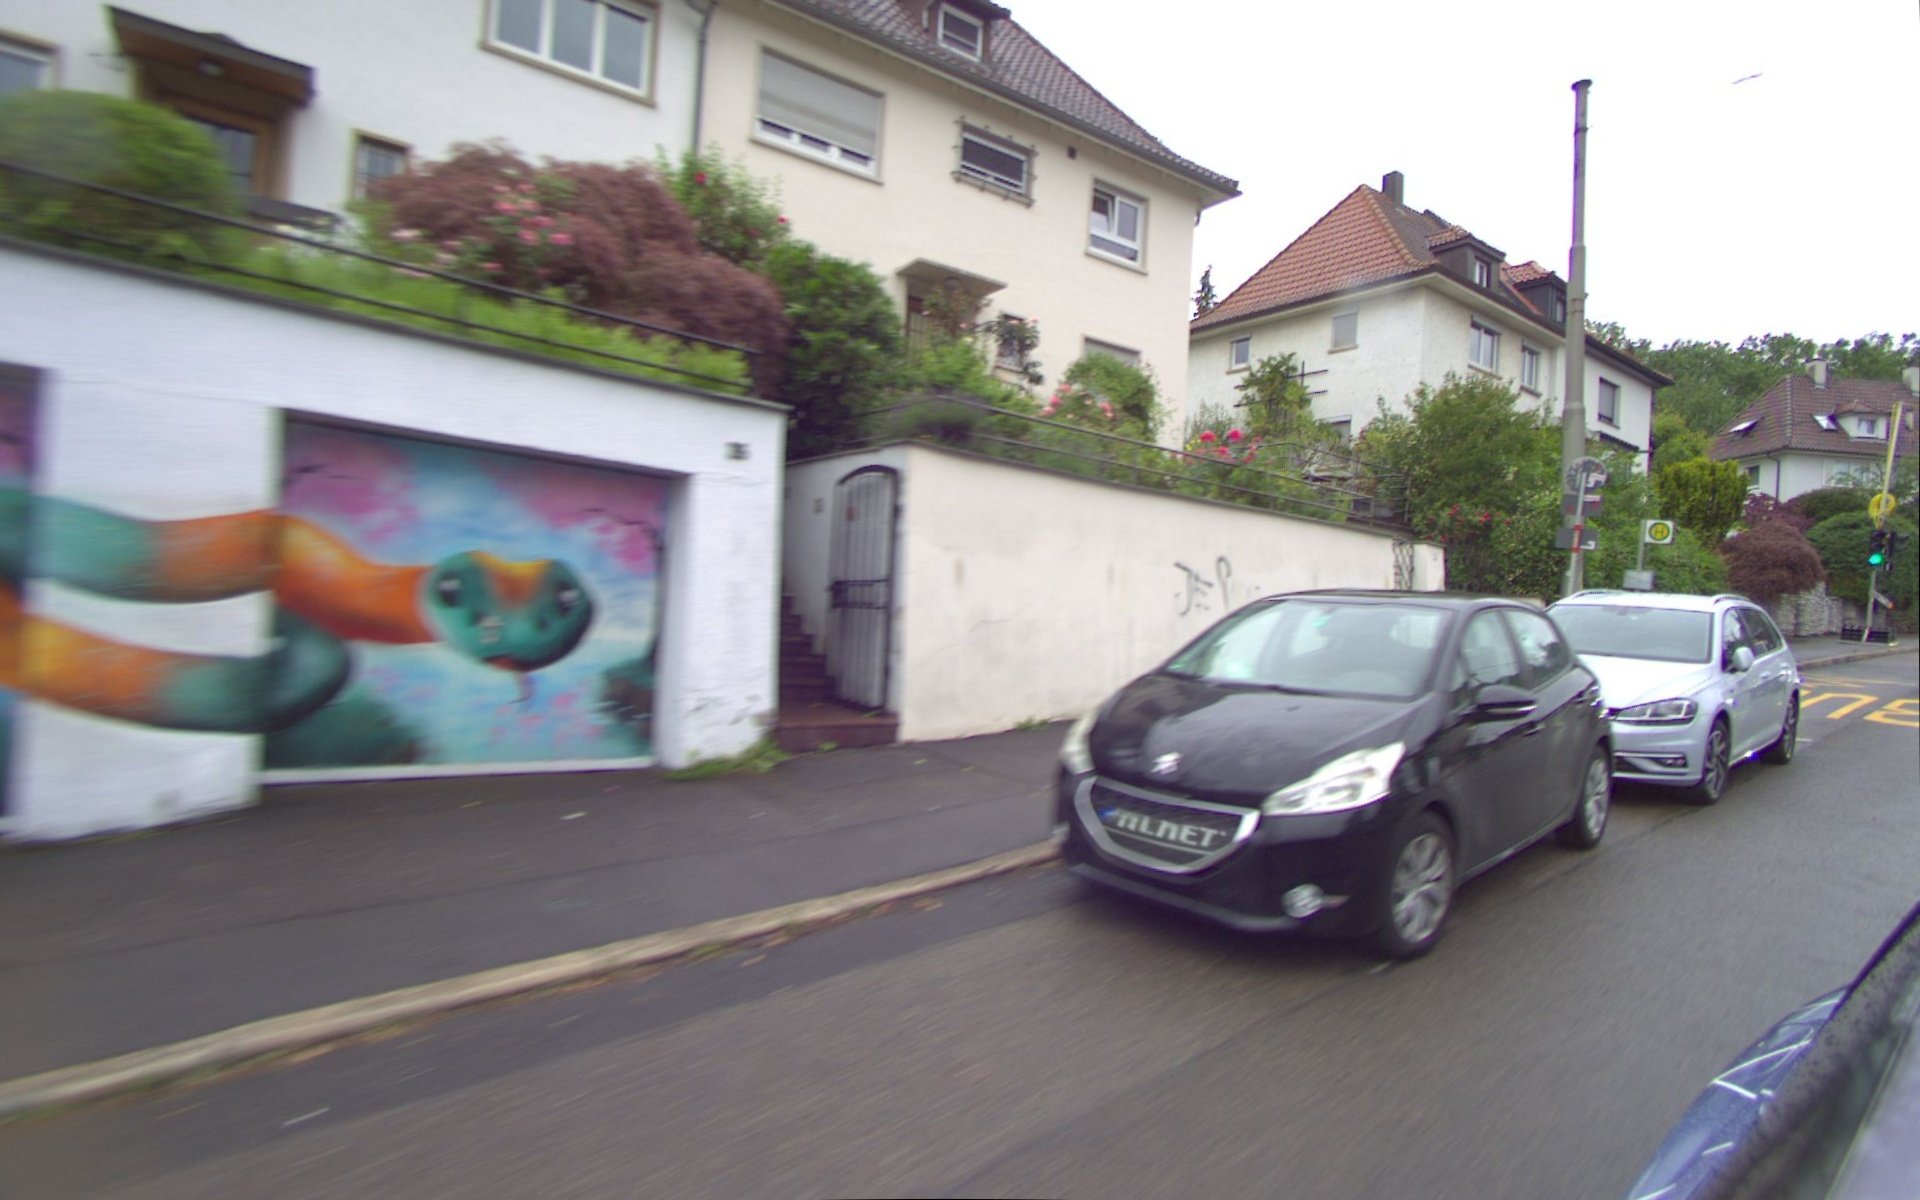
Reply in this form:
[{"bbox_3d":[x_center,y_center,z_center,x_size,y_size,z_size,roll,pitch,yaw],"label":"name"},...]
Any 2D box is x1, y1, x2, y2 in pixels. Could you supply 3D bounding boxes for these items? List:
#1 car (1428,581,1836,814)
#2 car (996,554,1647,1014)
[{"bbox_3d":[5.846,0.593,8.582,4.353,1.438,1.785,-1,3,-41],"label":"car"},{"bbox_3d":[2.161,0.580,5.374,3.935,1.532,1.715,-1,1,-45],"label":"car"}]
